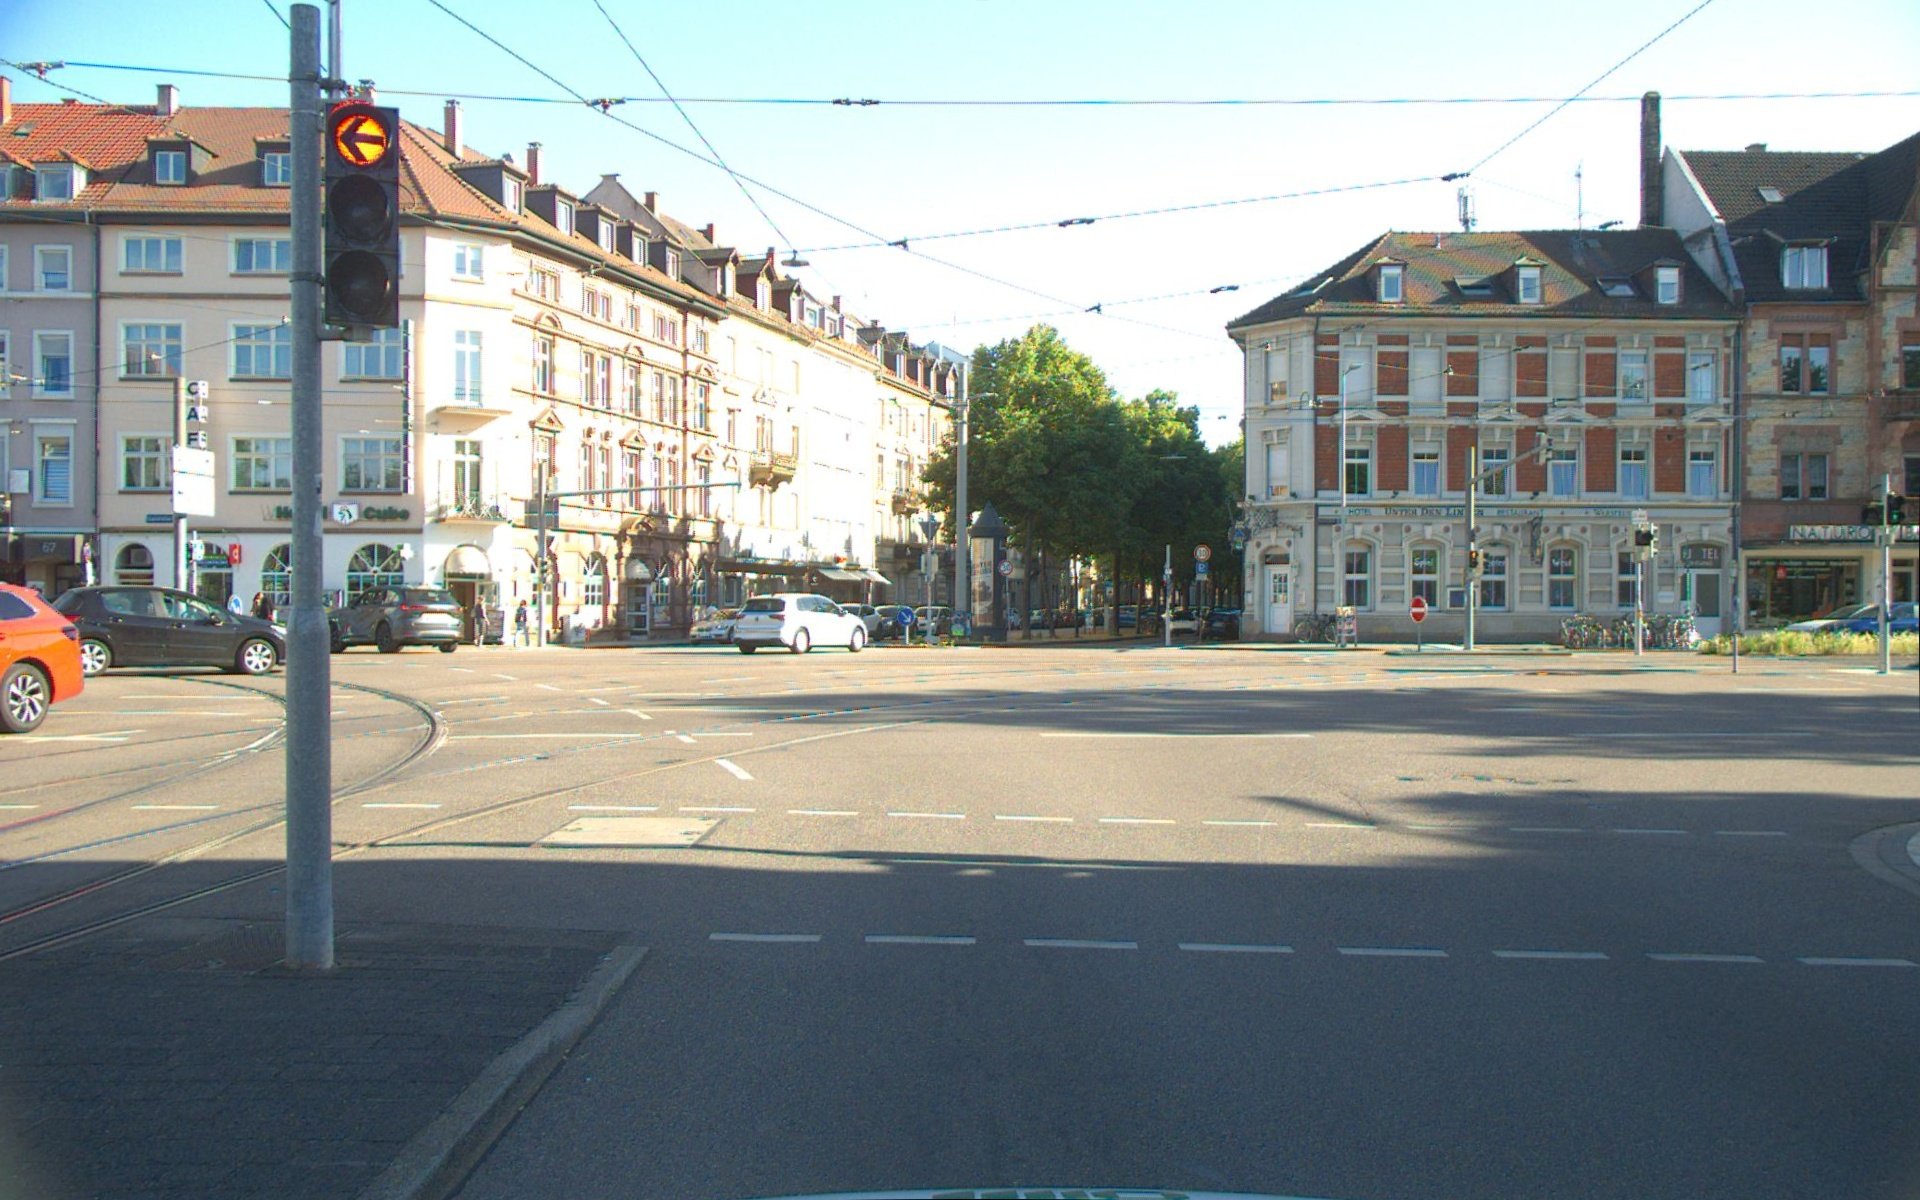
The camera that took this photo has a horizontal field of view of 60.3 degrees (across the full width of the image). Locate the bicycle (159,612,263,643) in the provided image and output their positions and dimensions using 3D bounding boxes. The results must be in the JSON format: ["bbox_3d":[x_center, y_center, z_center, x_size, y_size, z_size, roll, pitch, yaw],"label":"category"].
[{"bbox_3d":[-25.511,0.940,56.350,3.066,0.997,1.001,1,0,-1],"label":"bicycle"}]

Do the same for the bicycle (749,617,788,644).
[{"bbox_3d":[-7.524,1.205,65.158,0.746,1.025,2.398,1,0,13],"label":"bicycle"}]

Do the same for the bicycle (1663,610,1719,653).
[{"bbox_3d":[23.488,0.996,53.173,0.615,1.309,2.661,1,0,0],"label":"bicycle"}]

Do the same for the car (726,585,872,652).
[{"bbox_3d":[-3.933,0.450,41.050,1.737,1.557,3.995,1,0,27],"label":"car"}]

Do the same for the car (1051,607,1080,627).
[{"bbox_3d":[8.403,1.384,131.862,1.526,1.540,3.658,1,0,16],"label":"car"}]

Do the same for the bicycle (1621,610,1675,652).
[{"bbox_3d":[22.089,0.971,53.150,0.615,1.309,2.661,1,0,0],"label":"bicycle"}]

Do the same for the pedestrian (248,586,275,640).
[{"bbox_3d":[-21.609,0.406,51.171,0.620,1.640,0.465,1,-1,-5],"label":"pedestrian"}]

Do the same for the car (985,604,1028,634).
[{"bbox_3d":[3.186,1.288,112.736,1.951,1.937,4.002,1,0,16],"label":"car"}]

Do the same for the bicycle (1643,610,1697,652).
[{"bbox_3d":[22.804,0.984,53.175,0.615,1.309,2.661,1,0,0],"label":"bicycle"}]

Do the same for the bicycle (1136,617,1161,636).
[{"bbox_3d":[11.287,1.572,99.223,0.619,1.104,1.685,1,0,-31],"label":"bicycle"}]

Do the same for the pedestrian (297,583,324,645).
[{"bbox_3d":[-20.139,0.438,51.277,0.620,1.914,0.465,1,-1,-5],"label":"pedestrian"}]

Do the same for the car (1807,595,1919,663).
[{"bbox_3d":[25.937,0.804,46.049,3.706,1.809,1.999,1,0,-2],"label":"car"}]

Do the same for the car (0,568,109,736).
[{"bbox_3d":[-9.973,0.507,14.612,1.866,1.549,4.768,-1,0,9],"label":"car"}]

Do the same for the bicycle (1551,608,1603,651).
[{"bbox_3d":[19.774,0.931,53.097,0.678,1.309,2.661,1,0,0],"label":"bicycle"}]

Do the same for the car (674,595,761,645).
[{"bbox_3d":[-9.789,0.804,67.024,1.951,1.937,4.002,1,0,17],"label":"car"}]

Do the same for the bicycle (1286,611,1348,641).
[{"bbox_3d":[12.356,0.894,57.271,2.006,1.015,0.631,1,0,2],"label":"bicycle"}]

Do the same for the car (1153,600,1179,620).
[{"bbox_3d":[16.784,0.835,134.806,1.526,1.540,3.658,1,0,16],"label":"car"}]

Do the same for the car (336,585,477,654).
[{"bbox_3d":[-14.080,0.478,41.942,1.937,1.646,4.115,1,0,-42],"label":"car"}]

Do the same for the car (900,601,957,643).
[{"bbox_3d":[-1.497,1.068,79.818,1.951,1.937,4.003,1,0,11],"label":"car"}]

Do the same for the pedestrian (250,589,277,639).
[{"bbox_3d":[-21.281,0.428,50.563,0.620,1.502,0.465,1,-1,-5],"label":"pedestrian"}]

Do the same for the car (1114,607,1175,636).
[{"bbox_3d":[12.857,1.465,115.151,3.902,1.937,2.001,1,0,15],"label":"car"}]

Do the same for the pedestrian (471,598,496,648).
[{"bbox_3d":[-15.902,0.758,55.188,0.620,1.662,0.700,1,-1,-4],"label":"pedestrian"}]

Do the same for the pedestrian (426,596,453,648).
[{"bbox_3d":[-16.783,0.711,53.331,0.628,1.662,0.691,1,-1,-37],"label":"pedestrian"}]

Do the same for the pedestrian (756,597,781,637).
[{"bbox_3d":[-7.536,0.666,65.087,0.803,1.539,0.598,1,-1,14],"label":"pedestrian"}]

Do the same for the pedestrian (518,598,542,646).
[{"bbox_3d":[-15.133,0.778,58.214,0.532,1.660,0.707,1,-1,13],"label":"pedestrian"}]

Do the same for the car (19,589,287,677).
[{"bbox_3d":[-13.669,0.546,28.090,3.817,1.386,1.735,1,0,-39],"label":"car"}]

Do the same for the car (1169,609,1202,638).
[{"bbox_3d":[12.914,1.327,94.548,1.655,1.592,3.844,1,0,11],"label":"car"}]

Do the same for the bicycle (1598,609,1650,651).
[{"bbox_3d":[21.312,0.958,53.148,0.615,1.309,2.661,1,0,0],"label":"bicycle"}]

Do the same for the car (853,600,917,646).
[{"bbox_3d":[-3.306,1.011,73.560,1.951,1.937,4.003,1,0,11],"label":"car"}]

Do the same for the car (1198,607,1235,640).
[{"bbox_3d":[12.874,1.157,82.775,1.655,1.592,3.844,1,0,11],"label":"car"}]

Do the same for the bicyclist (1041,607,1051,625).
[{"bbox_3d":[6.166,1.144,119.061,0.613,1.288,0.559,1,-1,15],"label":"bicyclist"}]

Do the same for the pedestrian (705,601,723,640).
[{"bbox_3d":[-10.569,0.872,71.008,0.532,1.660,0.707,1,-1,13],"label":"pedestrian"}]

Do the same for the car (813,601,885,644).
[{"bbox_3d":[-4.464,0.897,67.256,1.951,1.646,4.003,1,0,11],"label":"car"}]

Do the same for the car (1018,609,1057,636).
[{"bbox_3d":[5.742,1.650,122.498,1.951,1.937,4.002,1,0,16],"label":"car"}]

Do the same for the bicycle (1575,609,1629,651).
[{"bbox_3d":[20.601,0.945,53.126,0.678,1.309,2.661,1,0,0],"label":"bicycle"}]

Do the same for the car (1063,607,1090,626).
[{"bbox_3d":[9.615,1.383,136.391,1.526,1.540,3.658,1,0,16],"label":"car"}]
